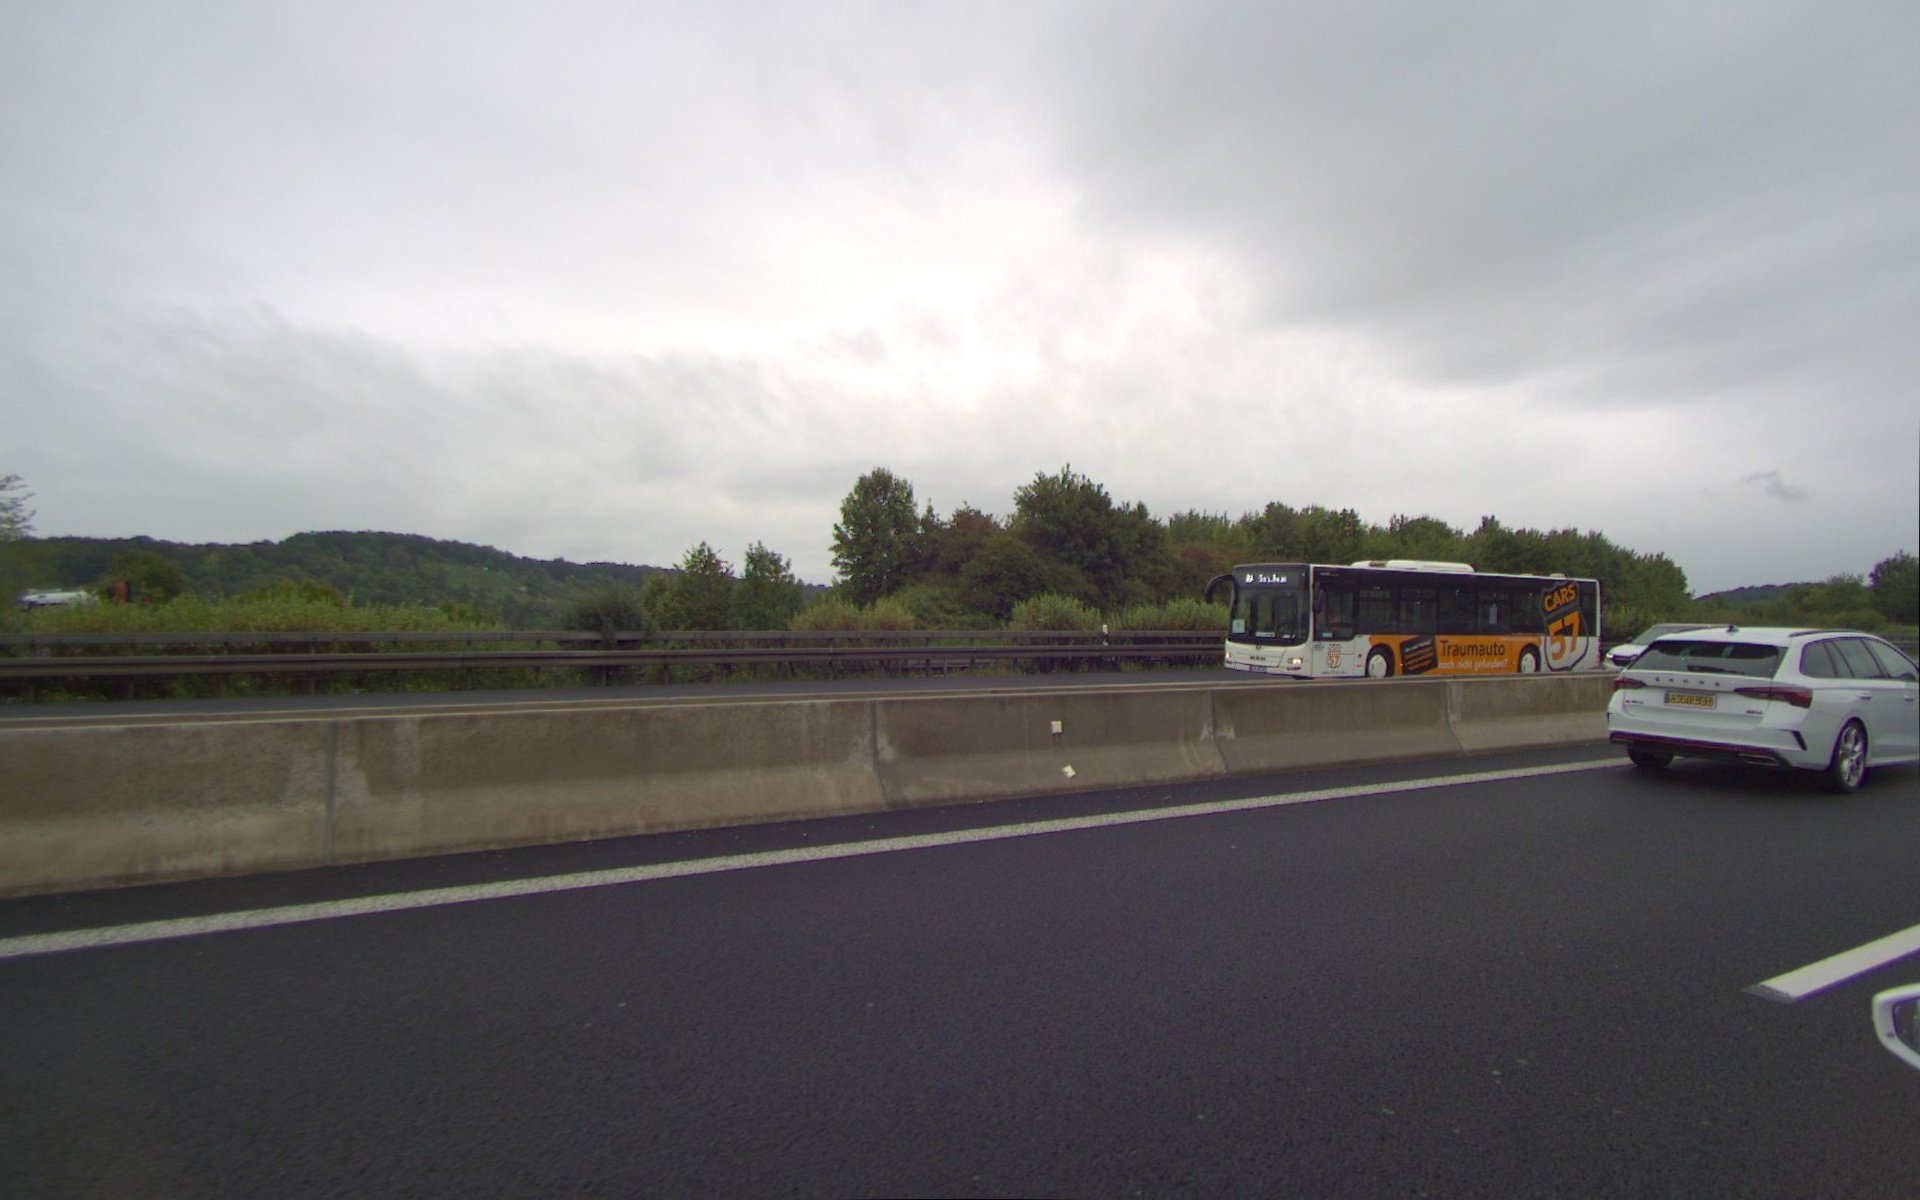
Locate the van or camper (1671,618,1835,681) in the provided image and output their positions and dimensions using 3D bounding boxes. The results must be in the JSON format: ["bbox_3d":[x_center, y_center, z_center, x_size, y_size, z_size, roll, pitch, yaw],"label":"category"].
[{"bbox_3d":[20.111,1.223,25.433,4.532,1.466,1.740,2,-2,-30],"label":"van or camper"}]

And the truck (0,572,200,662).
[{"bbox_3d":[-24.127,0.474,26.628,6.089,2.271,2.015,1,-2,-31],"label":"truck"}]

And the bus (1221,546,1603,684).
[{"bbox_3d":[12.010,0.497,25.905,11.757,2.997,2.686,2,-2,-30],"label":"bus"}]

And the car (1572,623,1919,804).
[{"bbox_3d":[8.485,1.013,10.221,4.720,1.475,1.810,2,-2,-29],"label":"car"}]
